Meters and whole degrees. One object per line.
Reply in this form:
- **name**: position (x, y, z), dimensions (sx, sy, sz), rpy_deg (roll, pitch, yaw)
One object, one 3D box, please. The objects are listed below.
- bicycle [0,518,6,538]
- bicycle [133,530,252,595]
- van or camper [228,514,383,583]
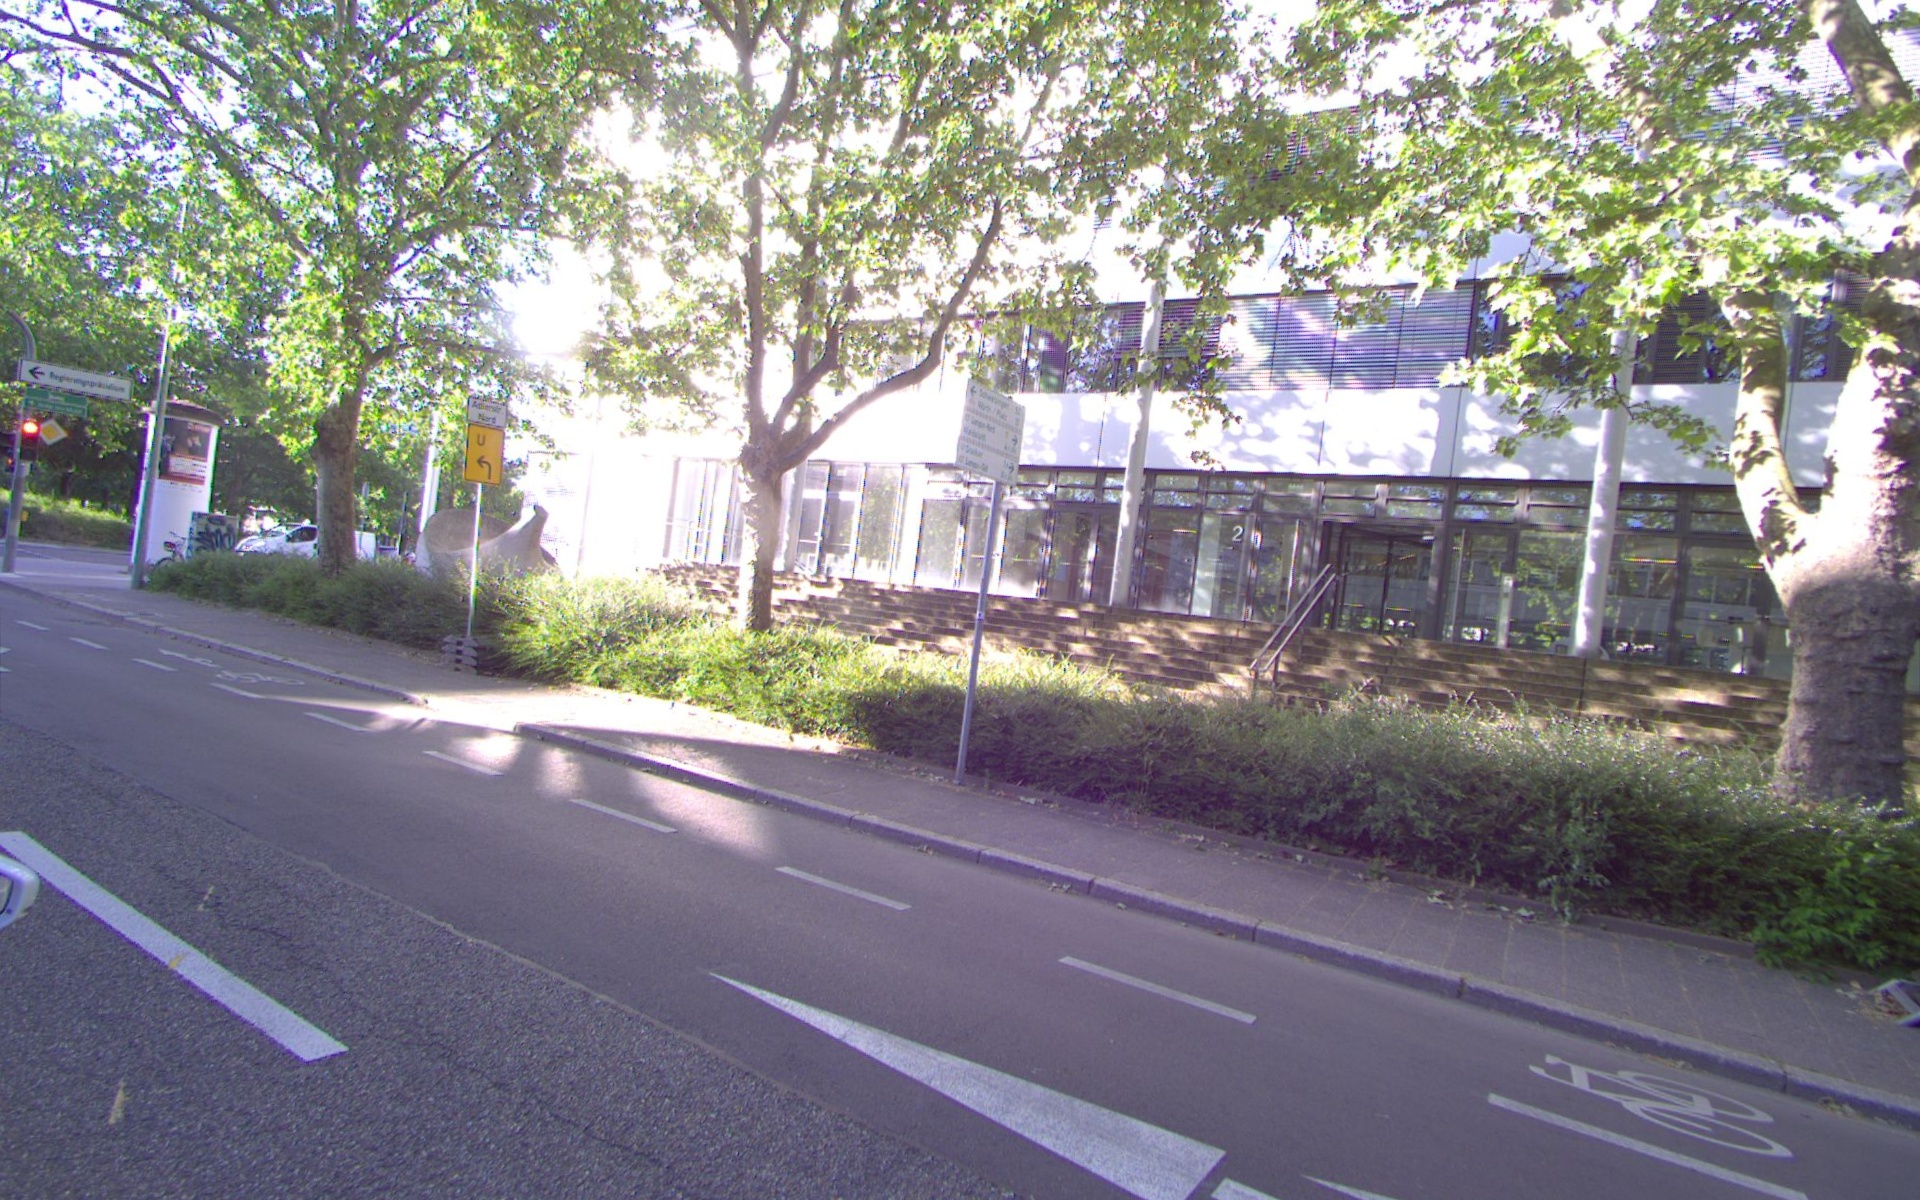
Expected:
- **bicycle**: position (-32.350, -2.475, 32.866), dimensions (0.488, 0.642, 1.588), rpy_deg (7, -1, 35)
- **bicycle**: position (-15.967, -0.765, 20.973), dimensions (0.502, 1.110, 1.806), rpy_deg (7, -1, 34)
- **van or camper**: position (-25.681, -1.969, 39.633), dimensions (1.966, 1.964, 4.588), rpy_deg (7, -1, 31)
